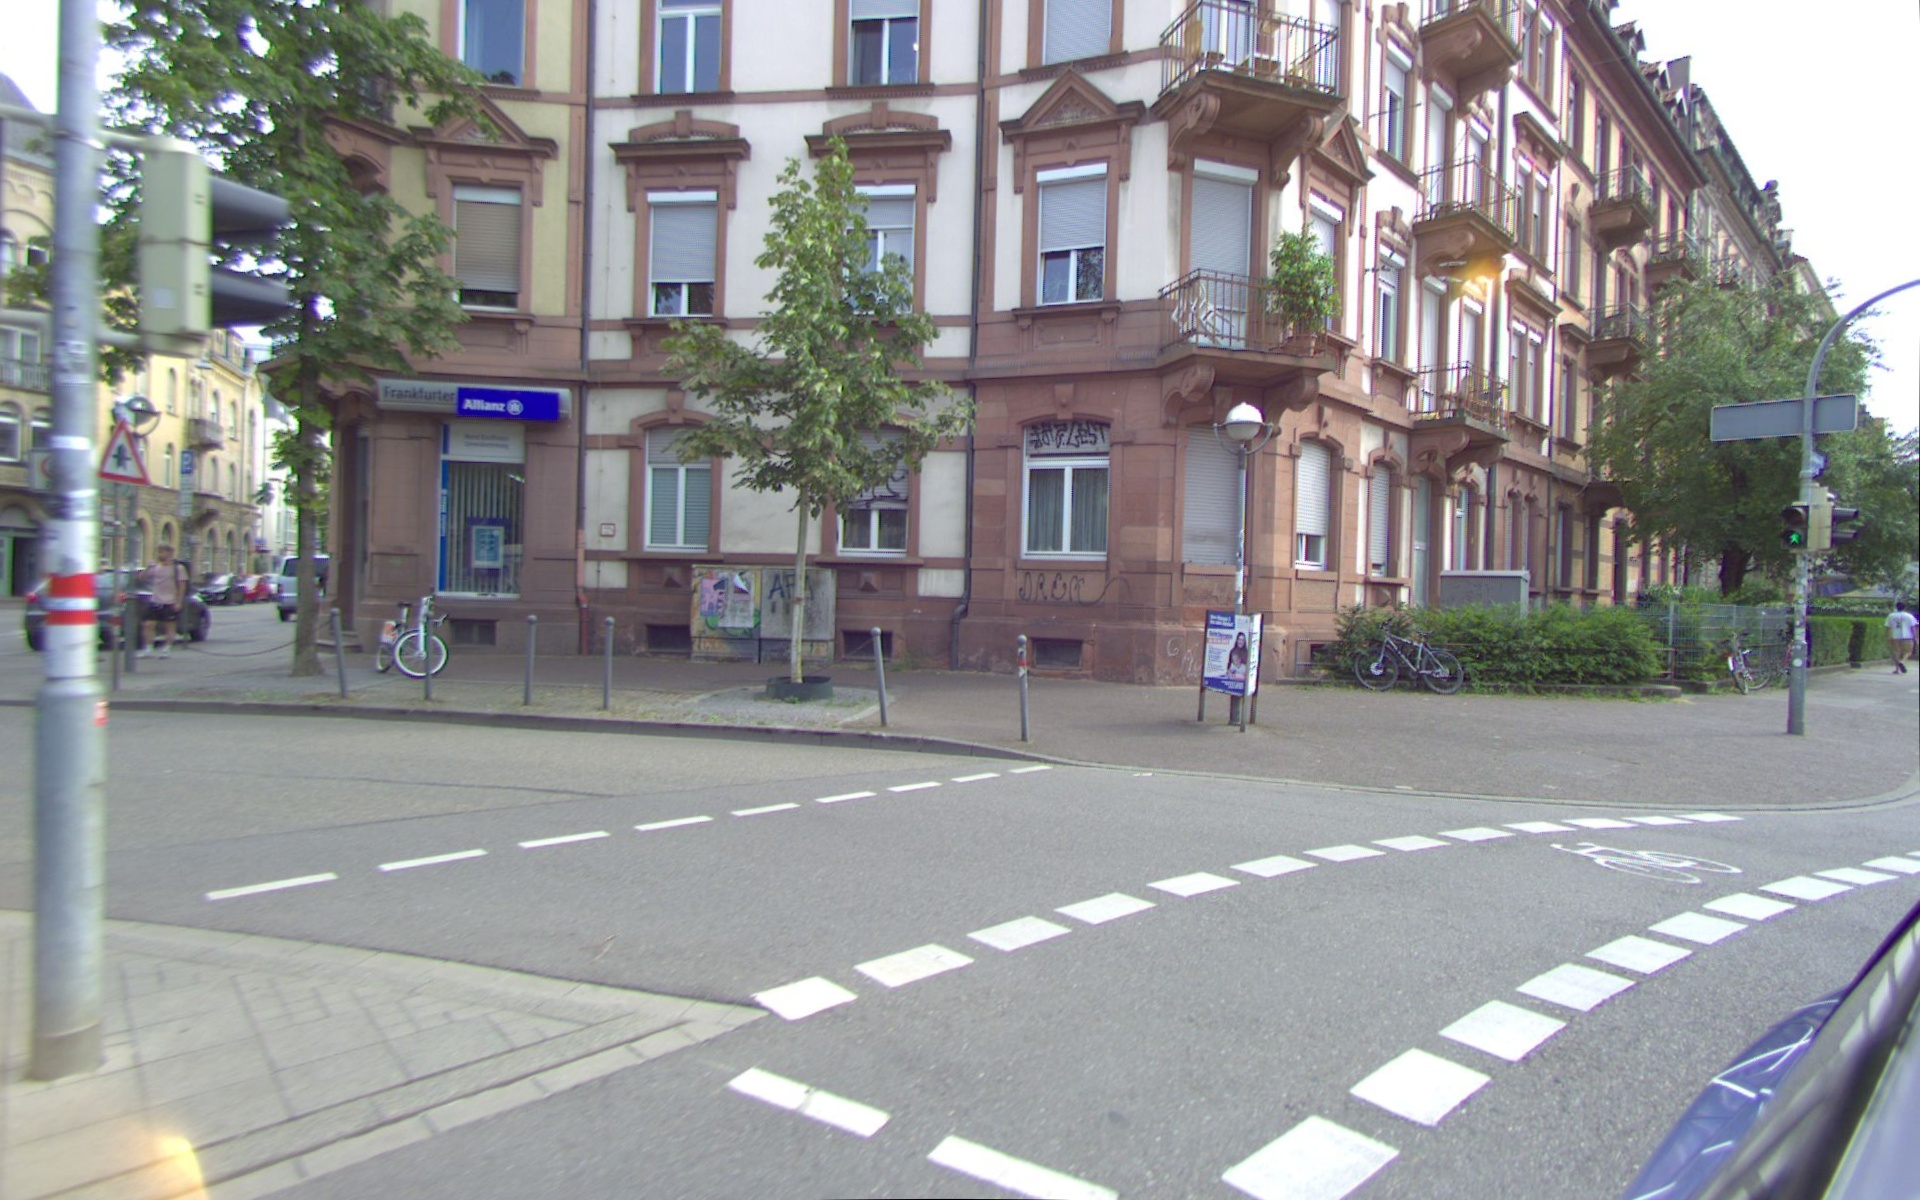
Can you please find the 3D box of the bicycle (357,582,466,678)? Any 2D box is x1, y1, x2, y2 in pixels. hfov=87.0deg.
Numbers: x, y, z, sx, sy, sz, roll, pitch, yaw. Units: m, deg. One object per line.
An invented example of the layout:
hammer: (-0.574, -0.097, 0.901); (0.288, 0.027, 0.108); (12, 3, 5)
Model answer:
bicycle: (-7.257, 0.362, 13.360); (1.664, 1.158, 0.664); (2, 0, 39)

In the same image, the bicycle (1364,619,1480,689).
bicycle: (6.879, 0.800, 15.079); (1.518, 0.982, 0.511); (2, 0, -10)

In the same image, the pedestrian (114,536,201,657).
pedestrian: (-12.094, -0.059, 15.276); (0.741, 1.750, 0.895); (2, 1, -19)

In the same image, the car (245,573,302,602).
car: (-38.790, -0.707, 57.260); (1.958, 1.538, 4.007); (1, 0, -24)

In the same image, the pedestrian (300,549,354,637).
pedestrian: (-13.061, -0.153, 20.892); (0.717, 1.750, 0.895); (2, 1, -19)

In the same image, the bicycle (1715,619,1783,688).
bicycle: (13.797, 0.906, 17.685); (1.644, 1.120, 0.672); (1, 0, -43)

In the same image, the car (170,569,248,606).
car: (-33.448, -0.560, 45.197); (1.958, 1.538, 4.007); (1, 0, -24)

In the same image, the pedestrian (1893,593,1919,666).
pedestrian: (23.687, 0.733, 25.043); (0.932, 1.776, 0.732); (2, 0, -39)

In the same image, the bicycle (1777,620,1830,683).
bicycle: (16.022, 0.955, 19.214); (1.524, 1.101, 0.509); (1, 3, -43)

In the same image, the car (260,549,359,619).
car: (-20.166, -0.485, 31.541); (1.829, 2.005, 4.008); (1, 1, -22)

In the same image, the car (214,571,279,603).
car: (-36.320, -0.639, 51.594); (1.958, 1.538, 4.007); (1, 0, -24)

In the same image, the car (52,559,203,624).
car: (-21.593, -0.234, 26.452); (1.780, 1.542, 4.009); (1, 1, -20)

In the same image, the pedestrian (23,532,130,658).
pedestrian: (-12.773, -0.076, 14.659); (0.875, 1.750, 0.734); (2, 1, -10)

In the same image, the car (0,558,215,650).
car: (-15.206, 0.040, 18.313); (1.780, 1.459, 4.008); (1, 1, -22)

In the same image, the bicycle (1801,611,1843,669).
bicycle: (20.271, 0.932, 23.788); (1.523, 1.298, 0.517); (1, 0, -41)
